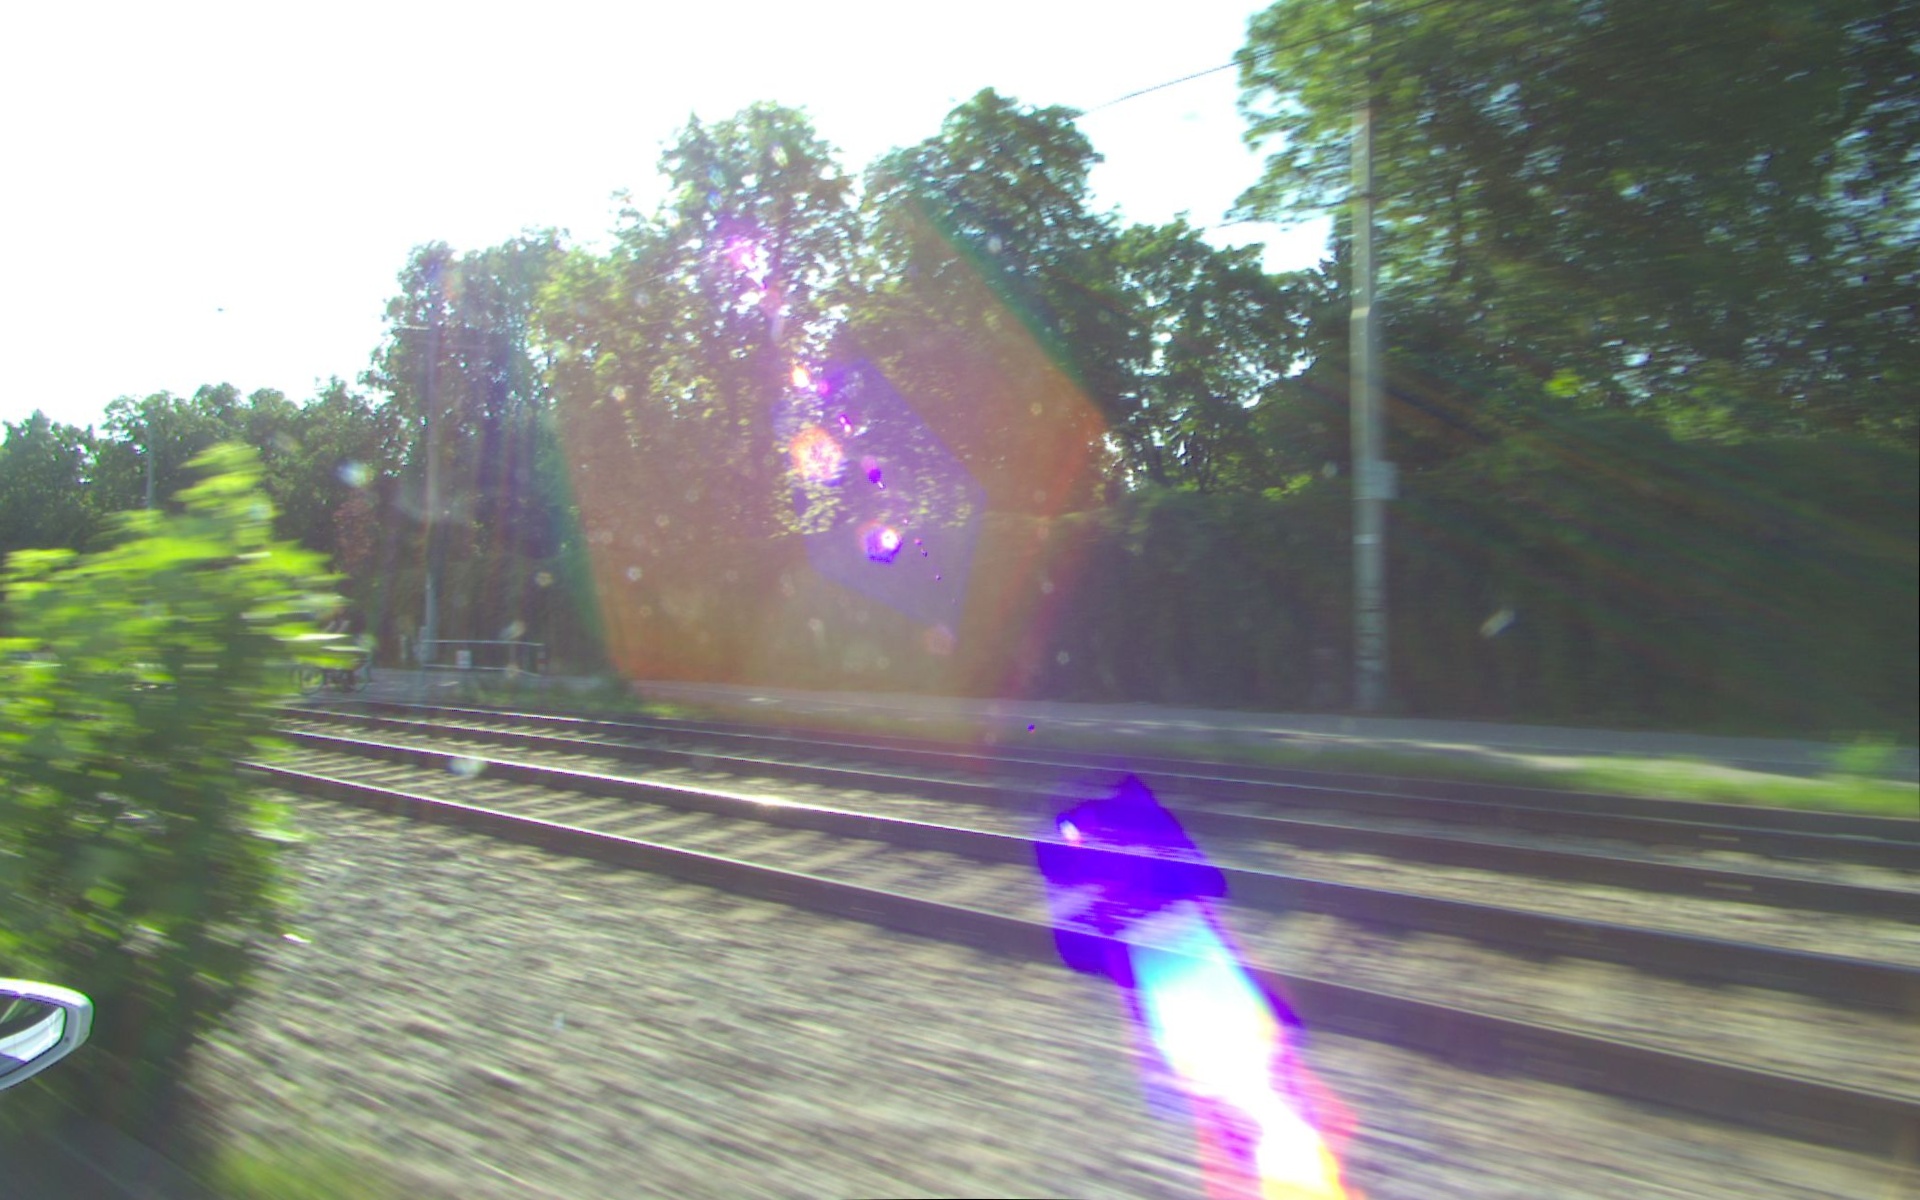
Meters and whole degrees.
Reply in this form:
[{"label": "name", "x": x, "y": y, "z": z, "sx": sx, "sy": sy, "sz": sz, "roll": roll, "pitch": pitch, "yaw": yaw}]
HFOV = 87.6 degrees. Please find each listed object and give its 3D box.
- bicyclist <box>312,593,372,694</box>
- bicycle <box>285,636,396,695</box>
[{"label": "bicyclist", "x": -12.776, "y": 0.886, "z": 20.729, "sx": 1.021, "sy": 2.019, "sz": 0.943, "roll": 0, "pitch": 0, "yaw": -29}, {"label": "bicycle", "x": -12.781, "y": 1.329, "z": 20.730, "sx": 1.899, "sy": 1.129, "sz": 0.943, "roll": 0, "pitch": -1, "yaw": -30}]
